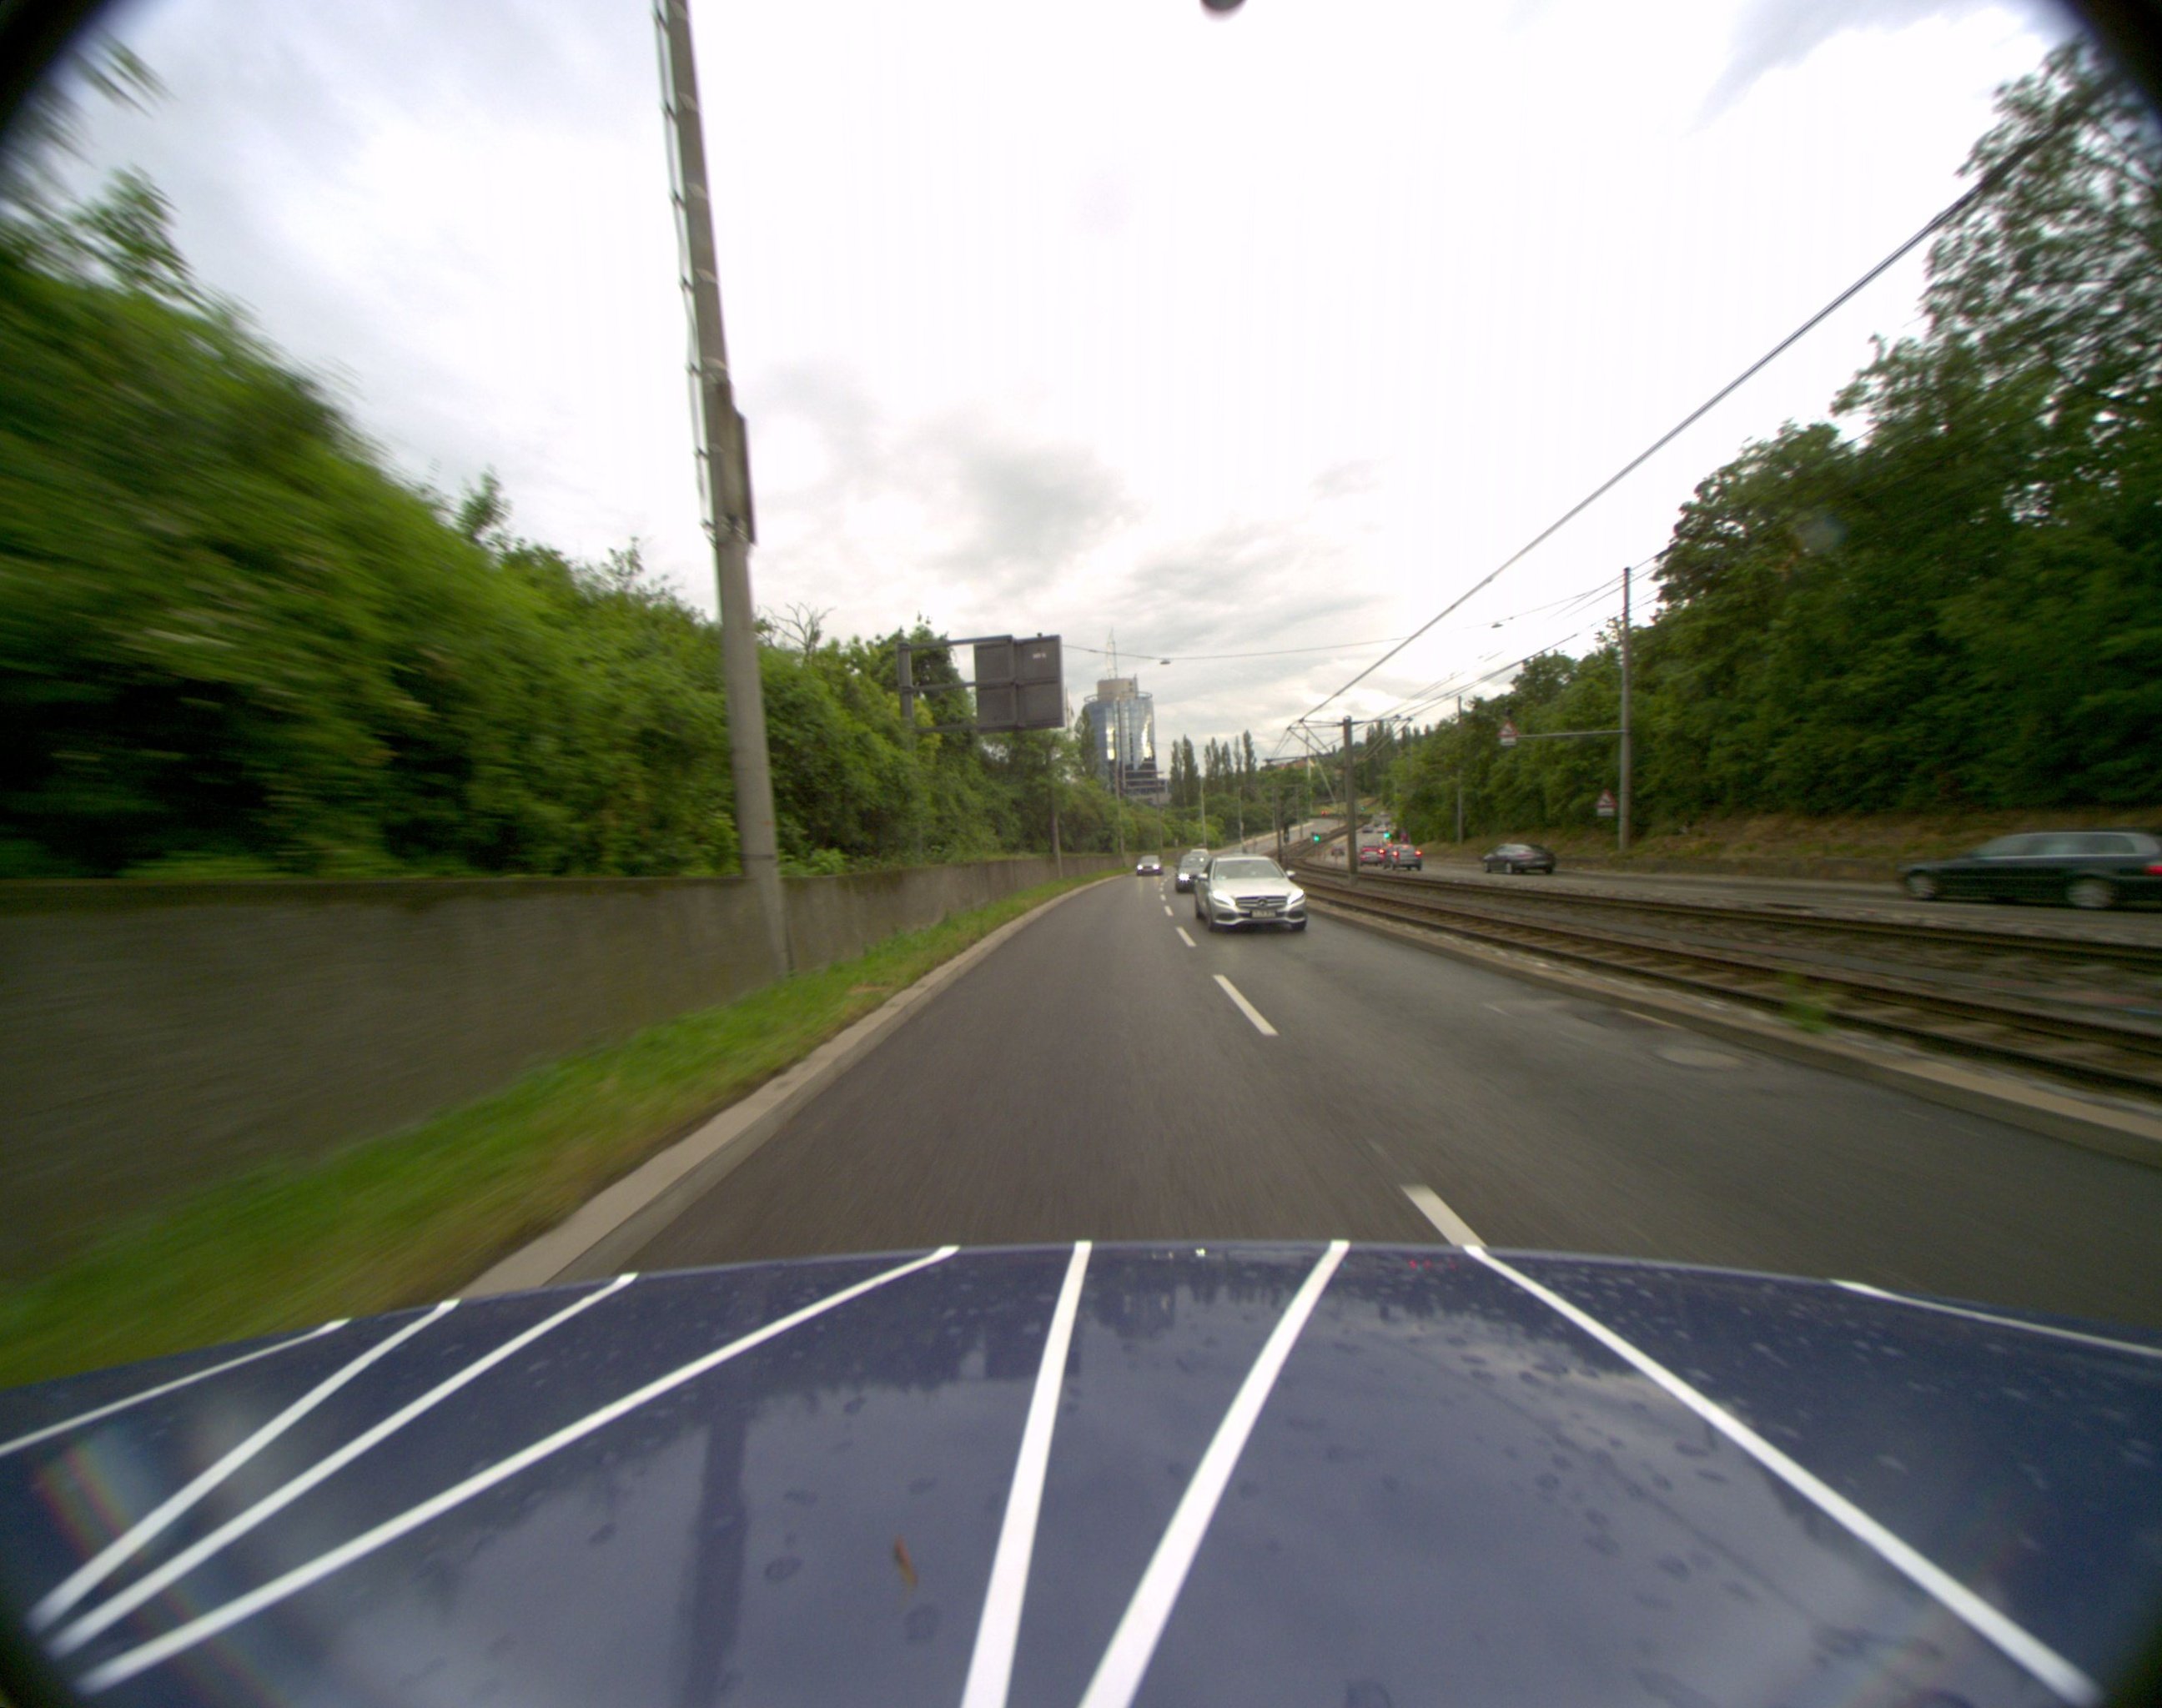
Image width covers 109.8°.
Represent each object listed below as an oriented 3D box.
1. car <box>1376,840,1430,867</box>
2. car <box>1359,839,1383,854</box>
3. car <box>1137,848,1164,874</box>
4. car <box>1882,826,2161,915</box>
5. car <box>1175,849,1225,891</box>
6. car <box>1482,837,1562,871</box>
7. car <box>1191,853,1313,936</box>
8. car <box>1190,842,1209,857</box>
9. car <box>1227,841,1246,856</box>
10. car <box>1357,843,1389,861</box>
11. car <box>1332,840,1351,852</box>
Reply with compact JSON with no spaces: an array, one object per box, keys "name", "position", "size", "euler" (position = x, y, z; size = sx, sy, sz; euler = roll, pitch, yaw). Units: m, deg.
[{"name":"car","position":[18.733,-0.044,44.416],"size":[1.909,1.449,4.465],"euler":[-2,0,10]},{"name":"car","position":[31.438,-0.830,82.376],"size":[1.996,1.449,4.467],"euler":[-3,0,16]},{"name":"car","position":[5.024,0.490,54.923],"size":[1.809,1.502,3.999],"euler":[-4,3,5]},{"name":"car","position":[17.886,0.219,13.904],"size":[1.898,1.373,4.453],"euler":[-2,0,4]},{"name":"car","position":[4.606,0.584,29.747],"size":[1.729,1.462,3.889],"euler":[-3,0,7]},{"name":"car","position":[20.316,-0.021,35.210],"size":[1.804,1.415,4.465],"euler":[-1,0,10]},{"name":"car","position":[3.382,0.722,15.790],"size":[1.860,1.395,4.316],"euler":[-2,1,5]},{"name":"car","position":[14.935,-0.585,95.711],"size":[1.808,1.502,4.002],"euler":[-4,3,17]},{"name":"car","position":[22.478,-0.844,109.577],"size":[1.996,2.002,4.500],"euler":[-2,0,19]},{"name":"car","position":[21.487,-0.199,56.019],"size":[1.666,1.193,4.467],"euler":[-3,0,15]},{"name":"car","position":[34.781,-1.128,101.465],"size":[2.212,1.449,4.468],"euler":[-3,0,19]}]
